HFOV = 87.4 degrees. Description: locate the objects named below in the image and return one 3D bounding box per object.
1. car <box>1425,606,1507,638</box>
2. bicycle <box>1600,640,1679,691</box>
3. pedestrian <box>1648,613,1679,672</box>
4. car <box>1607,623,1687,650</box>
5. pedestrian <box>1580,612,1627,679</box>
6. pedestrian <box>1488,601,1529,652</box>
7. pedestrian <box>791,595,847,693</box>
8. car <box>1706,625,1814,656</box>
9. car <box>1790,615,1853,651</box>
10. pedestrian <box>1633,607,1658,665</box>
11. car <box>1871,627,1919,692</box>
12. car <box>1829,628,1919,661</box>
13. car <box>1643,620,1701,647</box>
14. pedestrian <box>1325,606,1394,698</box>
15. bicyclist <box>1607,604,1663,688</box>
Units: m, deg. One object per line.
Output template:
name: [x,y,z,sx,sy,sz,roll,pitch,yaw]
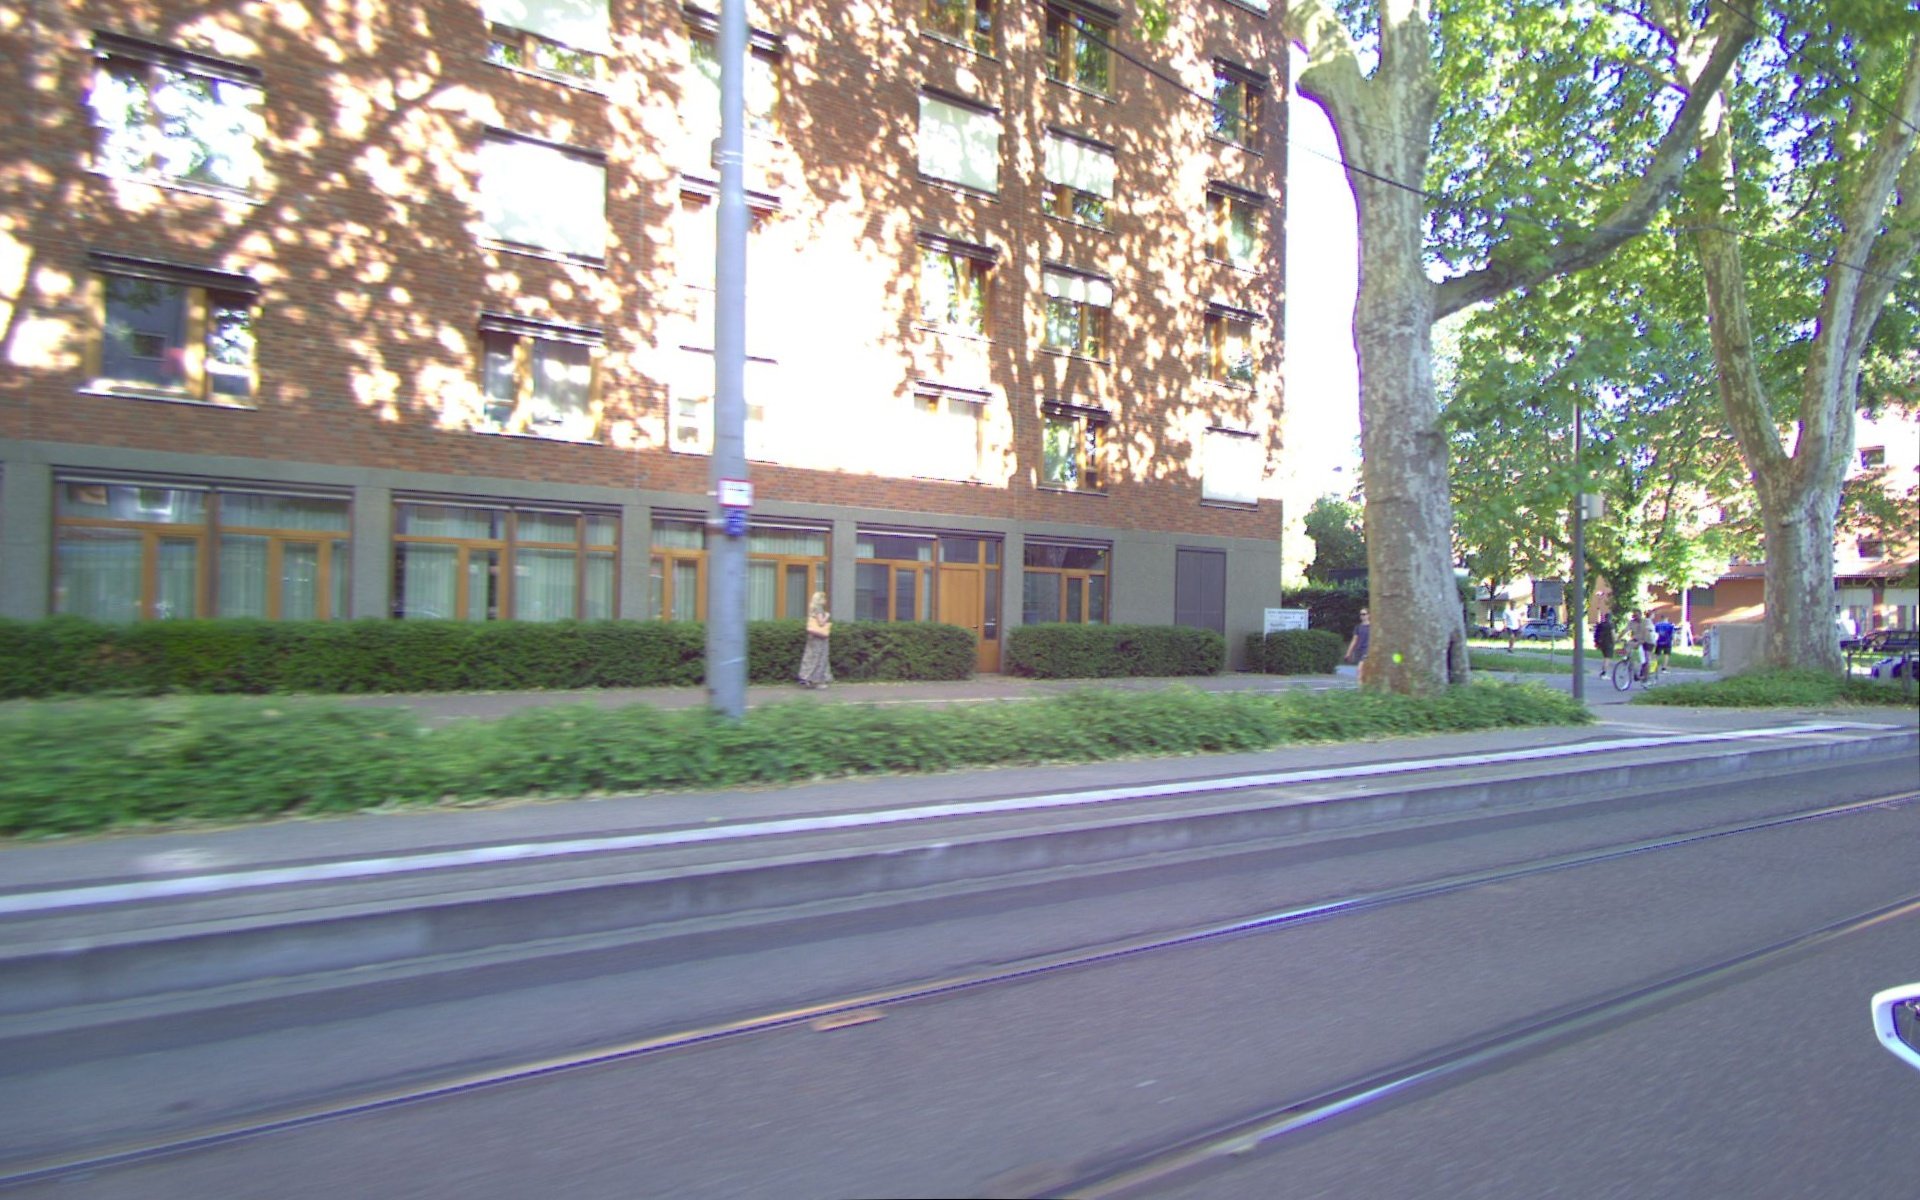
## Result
car: [35.574,1.520,70.706,1.982,2.040,4.694,2,0,-38]
bicycle: [15.250,1.459,22.532,1.817,1.078,0.712,2,0,-29]
pedestrian: [20.485,1.224,29.257,0.685,1.681,0.561,2,0,34]
car: [41.714,2.192,61.046,1.672,1.469,3.683,2,0,-34]
pedestrian: [16.613,1.165,25.943,0.770,1.695,0.706,2,0,-30]
pedestrian: [19.398,0.916,35.544,0.900,1.760,0.843,2,0,-14]
pedestrian: [-2.373,0.726,16.929,0.707,1.594,0.661,2,0,-30]
car: [44.759,2.238,56.288,1.807,1.469,4.434,2,0,-37]
car: [51.472,1.959,59.986,4.879,2.030,1.977,2,0,-39]
pedestrian: [20.754,1.086,30.416,0.523,1.728,0.591,2,0,29]
car: [23.950,1.453,22.638,1.934,1.480,4.735,2,0,-33]
car: [48.072,2.309,51.900,1.842,1.509,4.497,2,0,-35]
car: [47.607,2.250,67.132,4.443,1.639,1.930,2,0,-38]
pedestrian: [7.600,0.978,19.118,0.957,1.694,0.735,2,0,-28]
bicyclist: [15.086,1.019,22.443,0.828,1.811,0.697,2,0,-28]
